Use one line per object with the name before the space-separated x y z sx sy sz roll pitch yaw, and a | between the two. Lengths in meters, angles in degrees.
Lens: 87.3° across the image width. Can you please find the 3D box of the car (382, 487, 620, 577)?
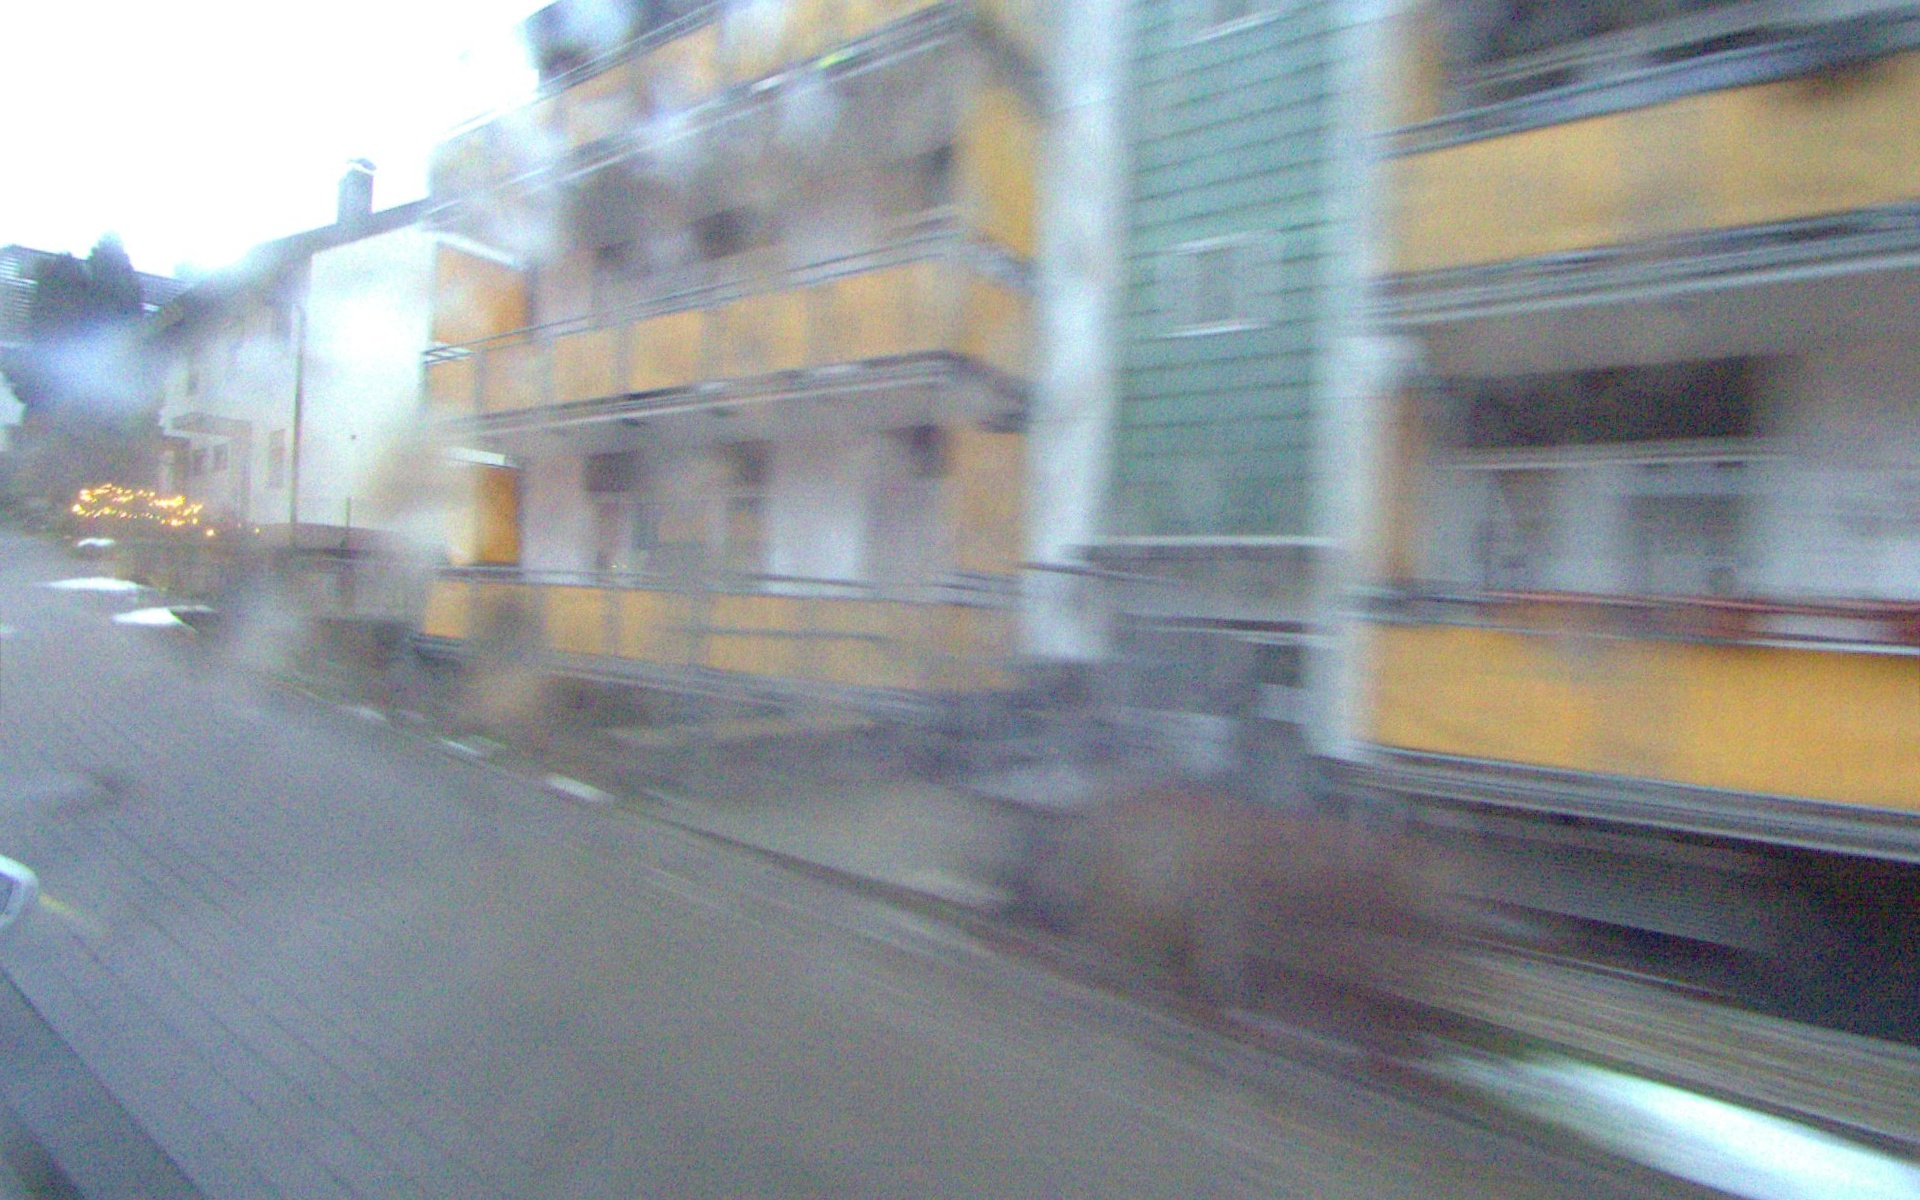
car | -9.727 -1.455 21.651 2.030 1.673 4.245 6 6 31
